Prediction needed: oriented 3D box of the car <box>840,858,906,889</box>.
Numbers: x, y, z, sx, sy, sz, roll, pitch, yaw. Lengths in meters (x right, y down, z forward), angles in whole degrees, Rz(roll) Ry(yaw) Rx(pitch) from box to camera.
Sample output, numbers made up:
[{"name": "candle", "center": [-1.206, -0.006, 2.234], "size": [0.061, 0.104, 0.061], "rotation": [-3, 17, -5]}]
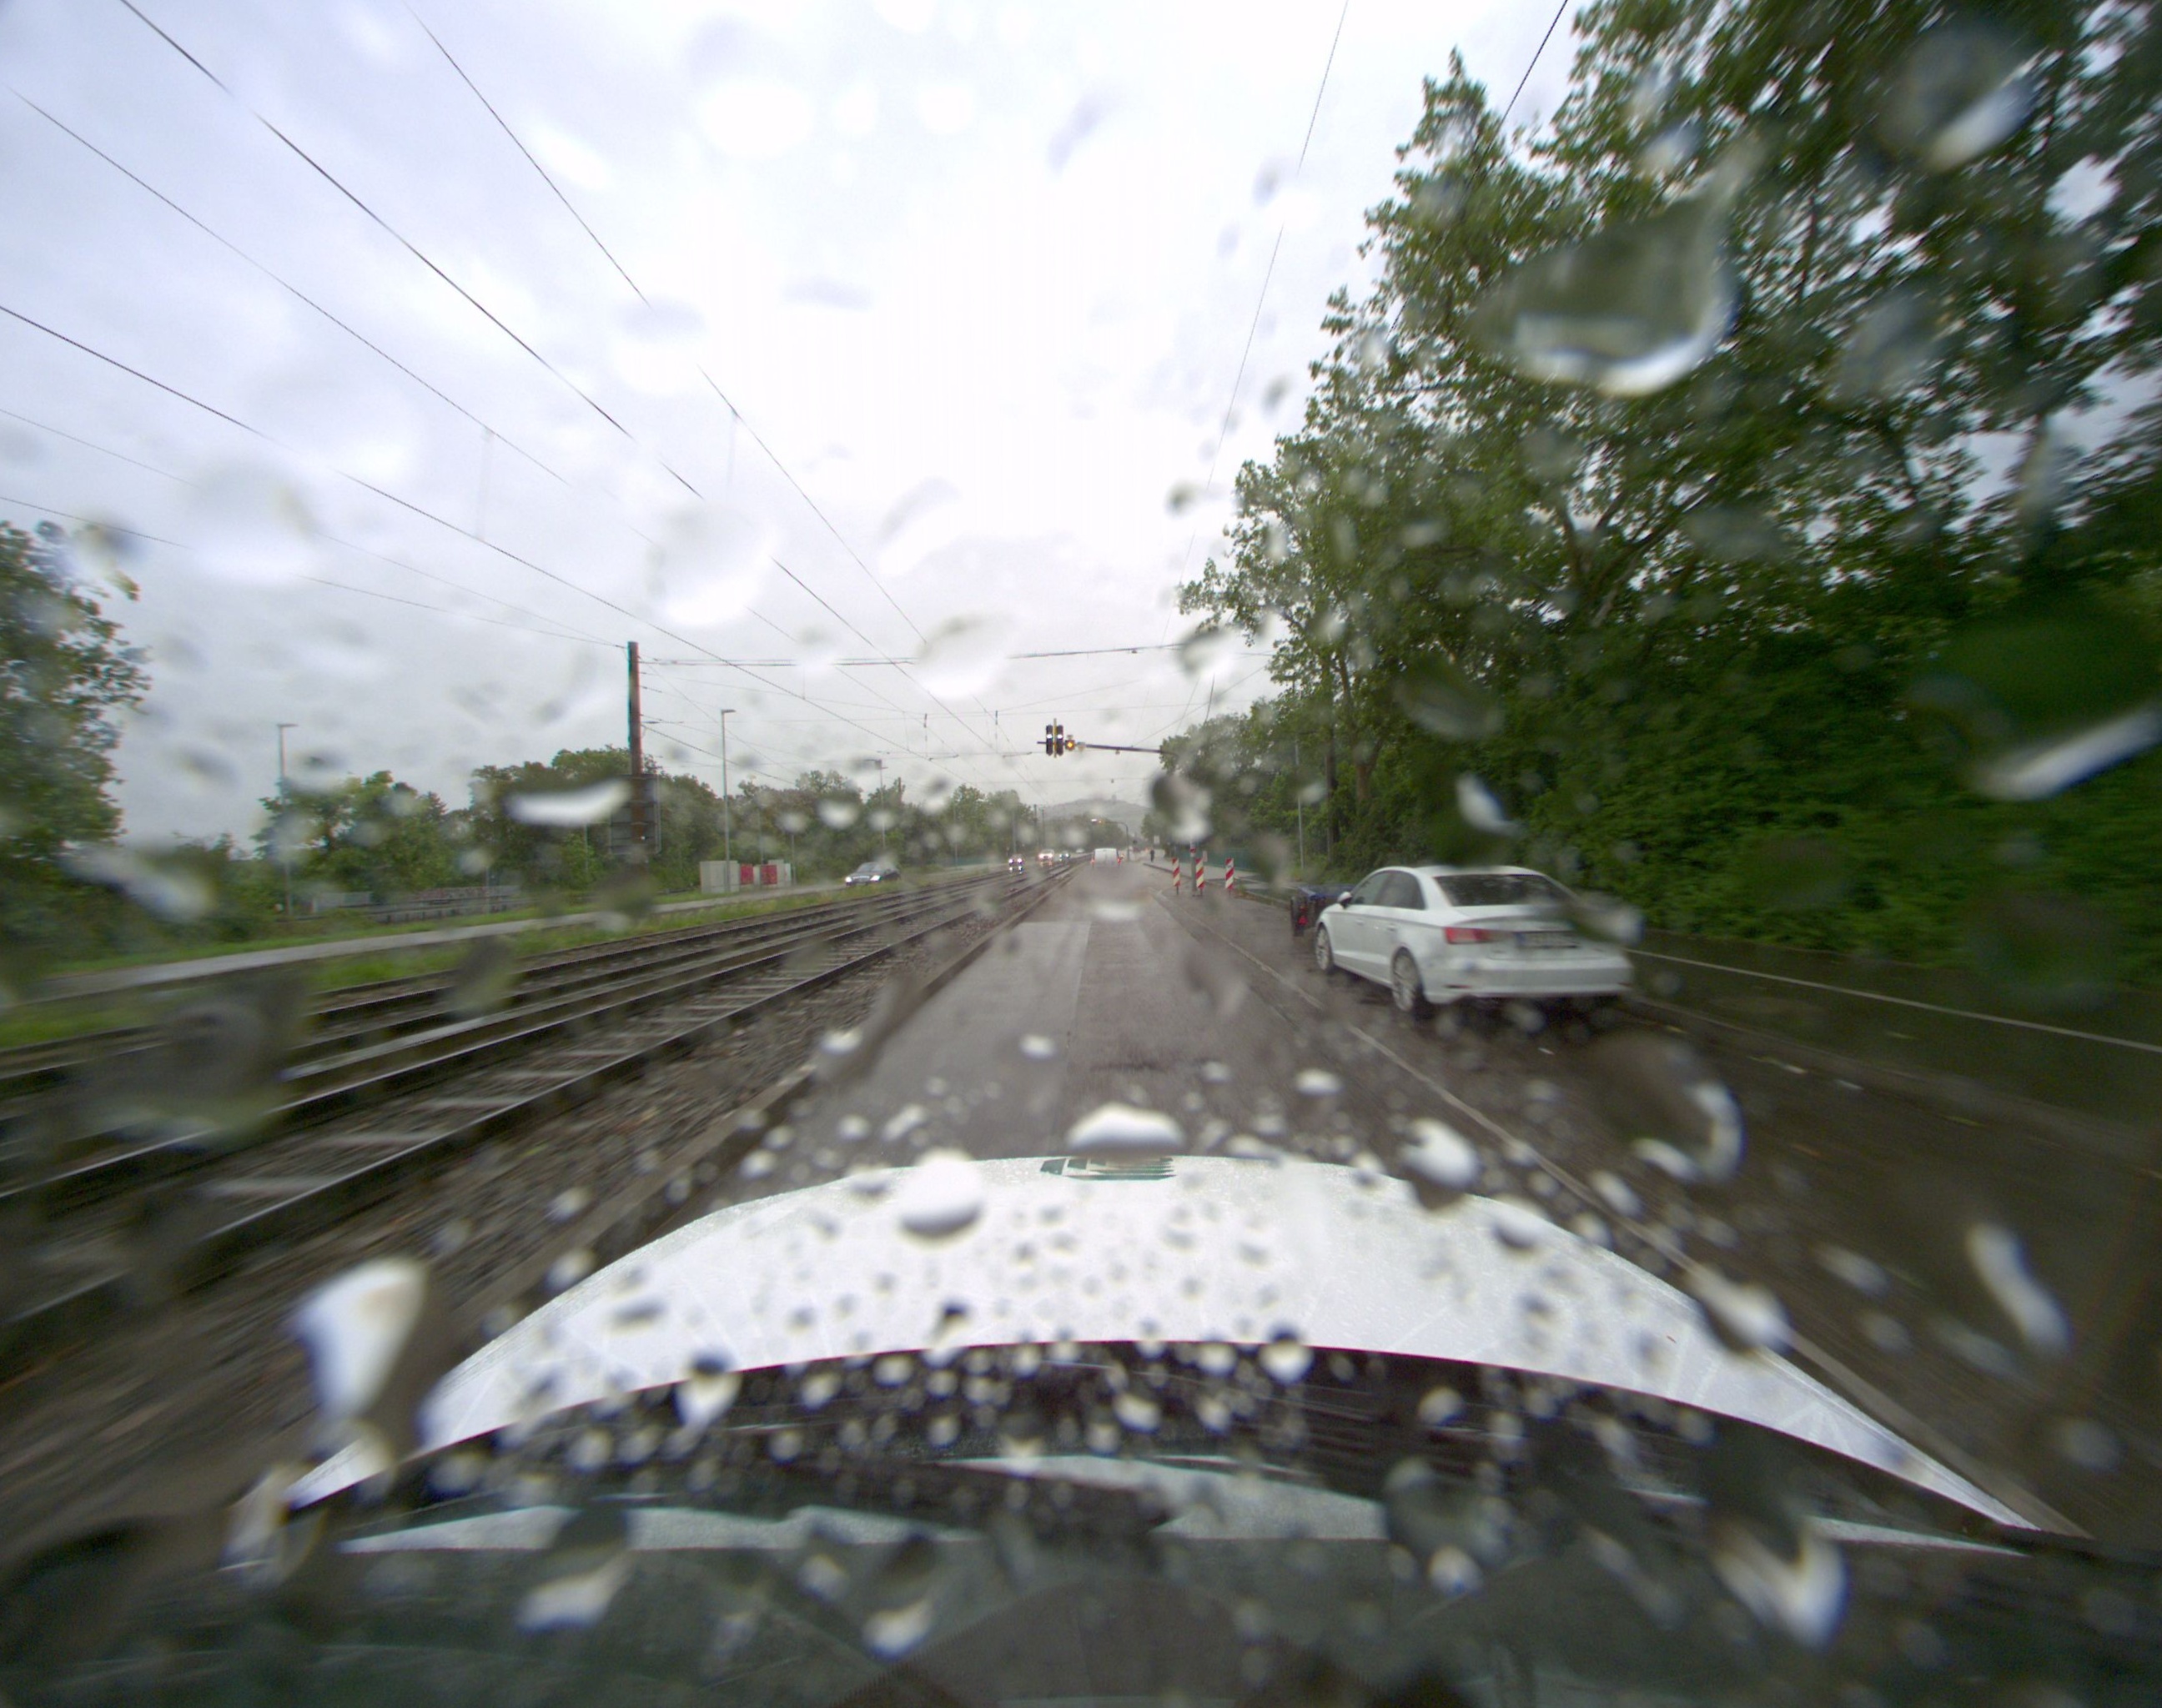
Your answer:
[{"name": "car", "center": [-10.998, 0.986, 43.579], "size": [1.986, 1.404, 5.387], "rotation": [-2, 0, 1]}]

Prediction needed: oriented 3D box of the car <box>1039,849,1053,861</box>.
[{"name": "car", "center": [-5.875, 0.175, 138.724], "size": [1.985, 2.014, 4.003], "rotation": [-1, -1, 3]}]

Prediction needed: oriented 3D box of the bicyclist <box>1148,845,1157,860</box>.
[{"name": "bicyclist", "center": [9.631, -0.226, 109.972], "size": [1.096, 2.014, 1.675], "rotation": [-1, -1, 1]}]

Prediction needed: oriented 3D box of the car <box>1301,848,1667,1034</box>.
[{"name": "car", "center": [3.814, 0.683, 8.729], "size": [1.813, 1.486, 4.482], "rotation": [0, 0, 1]}]

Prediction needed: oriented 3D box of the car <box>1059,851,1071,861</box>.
[{"name": "car", "center": [-3.263, 0.406, 165.323], "size": [1.985, 1.948, 4.003], "rotation": [-1, -1, 3]}]

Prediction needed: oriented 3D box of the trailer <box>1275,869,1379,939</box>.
[{"name": "trailer", "center": [4.383, 0.843, 14.887], "size": [1.369, 1.046, 3.450], "rotation": [0, 0, 9]}]

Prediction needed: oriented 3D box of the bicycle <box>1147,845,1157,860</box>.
[{"name": "bicycle", "center": [9.631, -0.182, 109.982], "size": [1.102, 2.014, 3.052], "rotation": [-1, -1, 1]}]

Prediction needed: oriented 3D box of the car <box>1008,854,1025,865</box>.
[{"name": "car", "center": [-8.432, 0.692, 107.041], "size": [1.813, 1.398, 4.001], "rotation": [-2, 0, 1]}]

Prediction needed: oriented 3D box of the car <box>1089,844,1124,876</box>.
[{"name": "car", "center": [1.562, 0.362, 49.711], "size": [1.986, 1.849, 4.002], "rotation": [-1, 0, 2]}]
